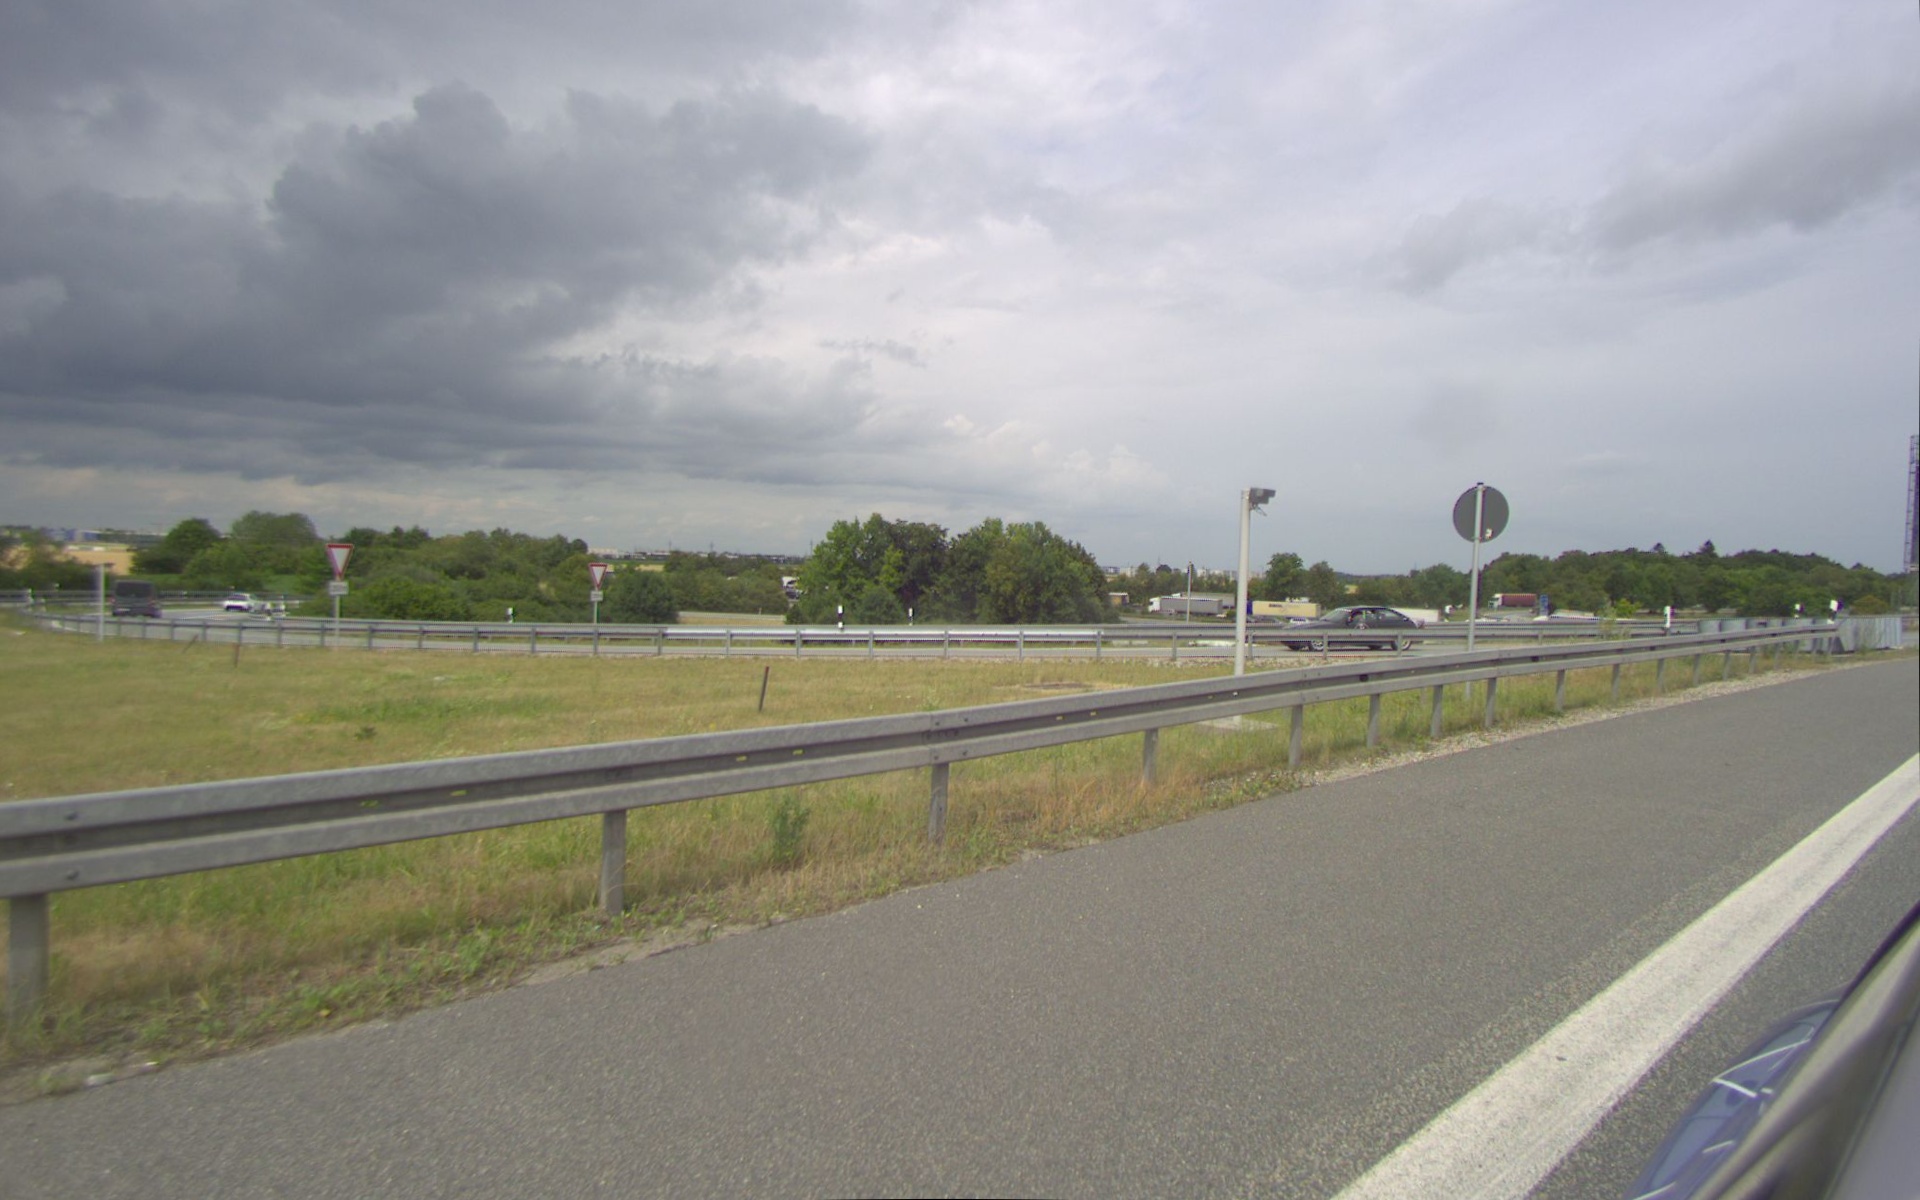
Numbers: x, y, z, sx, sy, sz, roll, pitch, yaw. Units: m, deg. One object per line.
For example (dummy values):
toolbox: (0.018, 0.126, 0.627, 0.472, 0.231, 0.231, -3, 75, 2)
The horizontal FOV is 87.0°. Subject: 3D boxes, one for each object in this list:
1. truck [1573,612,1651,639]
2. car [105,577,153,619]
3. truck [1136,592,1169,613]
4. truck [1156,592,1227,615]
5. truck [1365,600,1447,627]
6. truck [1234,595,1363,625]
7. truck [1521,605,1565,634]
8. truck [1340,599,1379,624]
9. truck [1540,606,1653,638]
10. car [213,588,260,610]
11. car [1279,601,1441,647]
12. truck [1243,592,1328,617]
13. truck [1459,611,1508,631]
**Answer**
truck: (108.003, 4.211, 167.841, 10.719, 4.123, 3.199, 1, 0, 36)
car: (-48.188, -0.138, 58.767, 1.877, 2.290, 4.647, 1, 0, -37)
truck: (43.122, 0.578, 227.028, 6.264, 4.568, 3.876, 1, 0, 40)
truck: (50.403, 0.703, 220.901, 14.818, 4.611, 3.950, 1, 0, 40)
truck: (84.845, 2.474, 192.773, 13.723, 4.612, 3.952, 1, 0, 39)
truck: (52.656, 1.478, 158.326, 18.936, 4.111, 3.941, 1, 1, 37)
truck: (102.955, 3.405, 178.841, 6.262, 4.733, 3.877, 1, 1, 39)
truck: (78.219, 2.233, 198.165, 6.263, 4.568, 3.876, 1, 0, 39)
truck: (109.041, 3.713, 173.747, 16.096, 4.758, 3.938, 1, 1, 39)
car: (-59.801, -0.086, 83.726, 1.958, 1.731, 4.008, 1, 0, -17)
car: (12.106, 0.717, 30.699, 4.275, 1.297, 1.712, 1, 0, -10)
truck: (66.841, 0.864, 208.245, 16.288, 4.611, 3.951, 1, 0, 40)
truck: (93.210, 3.660, 180.329, 7.531, 3.237, 2.200, 1, 0, 40)
